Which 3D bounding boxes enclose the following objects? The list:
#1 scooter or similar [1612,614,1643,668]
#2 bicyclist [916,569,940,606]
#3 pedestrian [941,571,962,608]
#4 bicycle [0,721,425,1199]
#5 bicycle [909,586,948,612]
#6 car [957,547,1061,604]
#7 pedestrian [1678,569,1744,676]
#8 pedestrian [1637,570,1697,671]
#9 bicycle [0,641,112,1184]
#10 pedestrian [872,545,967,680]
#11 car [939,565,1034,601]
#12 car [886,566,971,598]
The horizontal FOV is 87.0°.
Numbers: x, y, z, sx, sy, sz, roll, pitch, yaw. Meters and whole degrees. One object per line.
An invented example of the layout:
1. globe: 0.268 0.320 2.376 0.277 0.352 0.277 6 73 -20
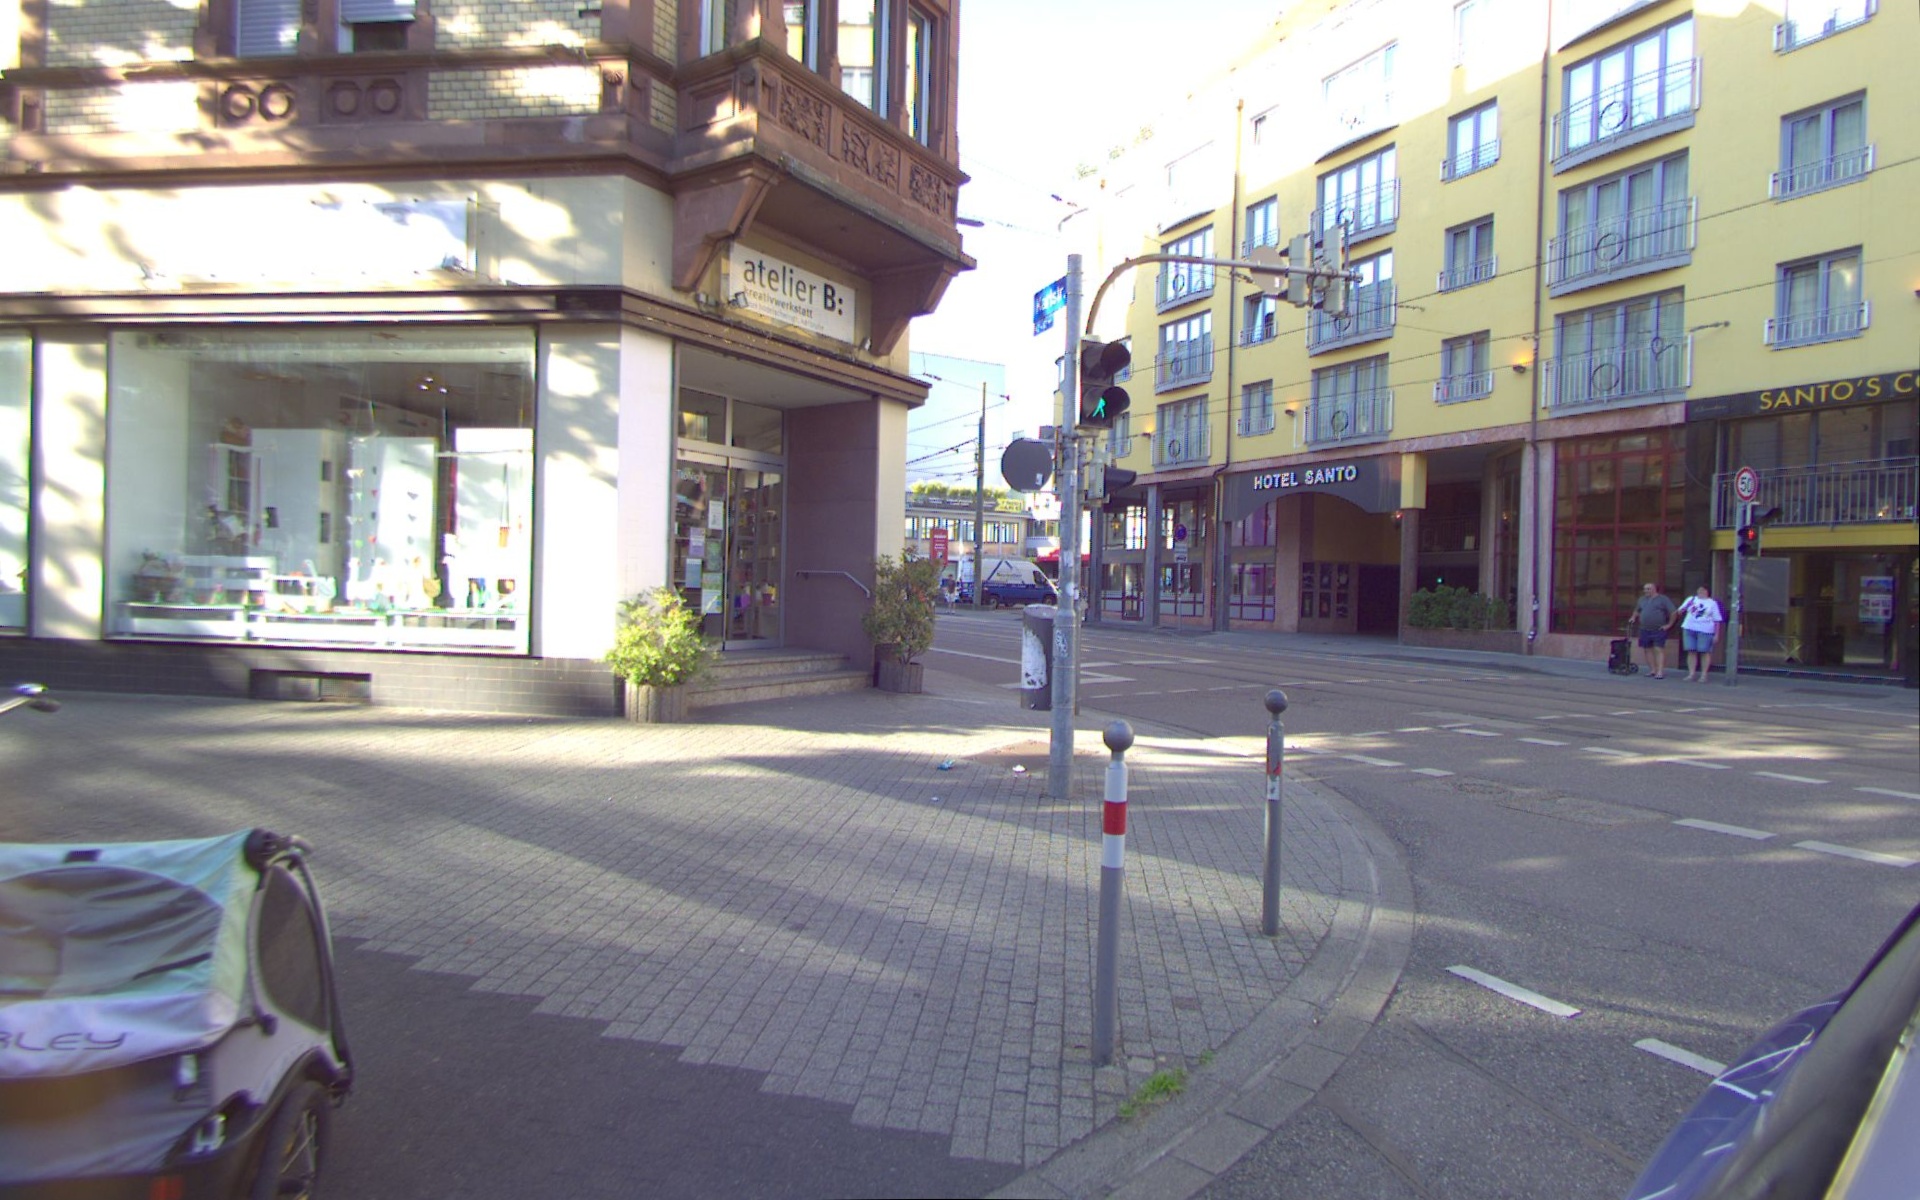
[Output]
1. scooter or similar: 12.971 0.792 19.659 0.414 0.989 0.357 -3 3 -30
2. bicyclist: -1.355 -0.549 42.750 0.666 1.538 0.756 1 1 -35
3. pedestrian: -0.425 -0.490 48.062 0.711 1.716 0.690 1 1 -30
4. bicycle: -1.705 0.858 2.205 0.723 1.039 1.002 1 1 -14
5. bicycle: -1.356 -0.047 42.747 0.666 1.016 1.964 1 1 -34
6. car: 2.564 -1.251 52.806 5.042 2.792 2.063 1 1 -26
7. pedestrian: 13.669 0.384 18.427 0.712 1.863 0.736 -3 3 -28
8. pedestrian: 13.476 0.365 19.301 0.712 1.863 0.680 -3 3 -28
9. bicycle: -2.773 0.728 2.646 1.471 1.106 0.566 4 4 39
10. pedestrian: -0.556 0.151 13.385 0.986 1.701 1.176 1 1 -14
11. car: 1.442 -0.927 55.226 4.720 1.860 2.063 1 1 -26
12. car: -1.934 -1.116 62.196 4.720 1.860 2.063 1 1 -26
